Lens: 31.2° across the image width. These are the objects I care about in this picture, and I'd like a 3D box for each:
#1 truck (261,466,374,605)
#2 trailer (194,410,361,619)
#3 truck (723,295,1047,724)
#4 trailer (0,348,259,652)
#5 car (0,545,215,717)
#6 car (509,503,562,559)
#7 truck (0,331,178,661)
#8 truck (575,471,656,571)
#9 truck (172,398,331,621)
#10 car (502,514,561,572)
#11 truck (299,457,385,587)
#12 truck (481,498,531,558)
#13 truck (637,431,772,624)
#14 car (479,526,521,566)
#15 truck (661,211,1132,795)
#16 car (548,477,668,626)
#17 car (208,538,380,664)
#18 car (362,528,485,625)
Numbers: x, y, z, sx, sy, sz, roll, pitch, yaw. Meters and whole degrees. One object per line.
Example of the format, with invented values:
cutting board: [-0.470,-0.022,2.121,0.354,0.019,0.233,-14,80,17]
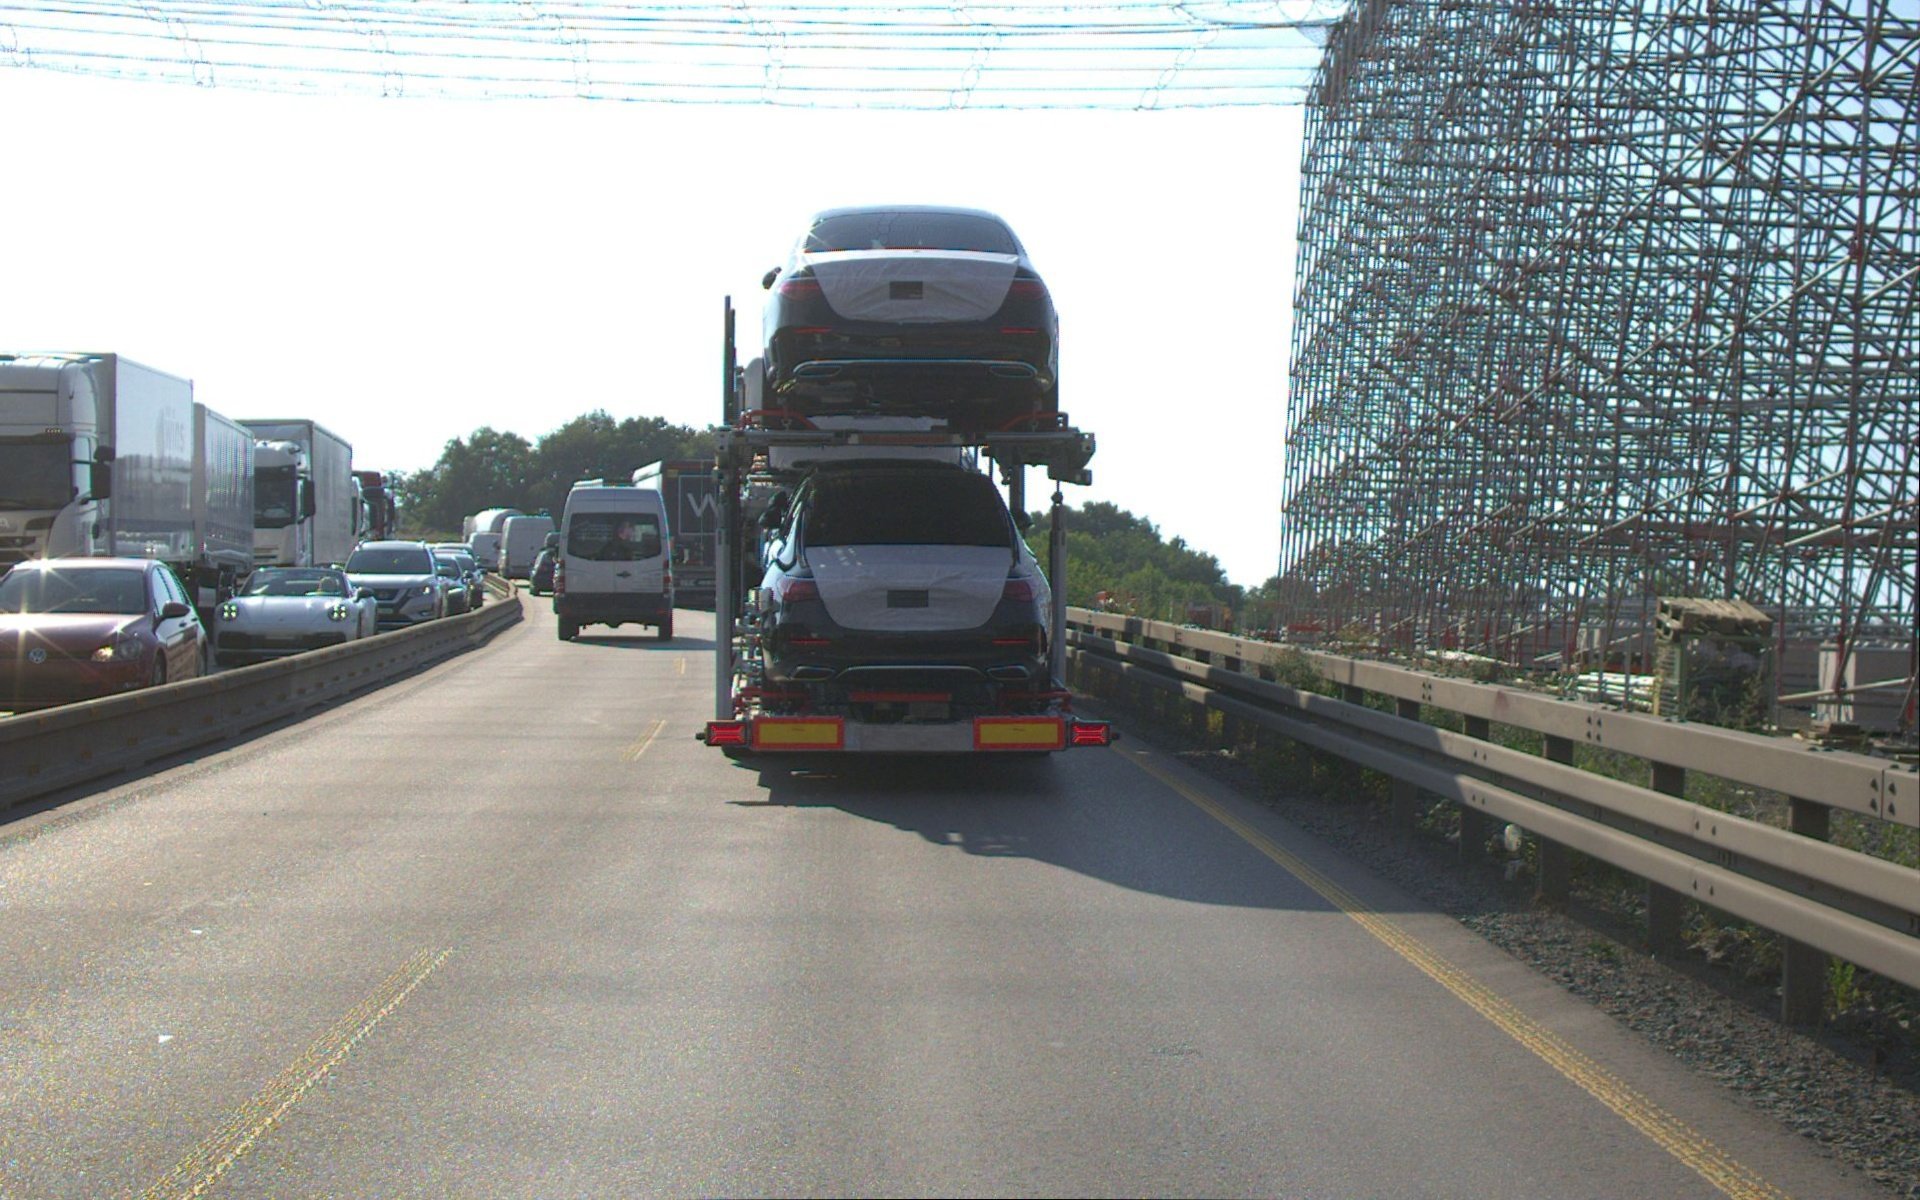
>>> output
truck: [-16.143,-1.617,86.633,2.413,3.358,5.619,1,1,-7]
trailer: [-14.244,-1.722,72.614,2.427,3.949,14.102,1,1,-7]
truck: [-0.998,-0.856,35.531,2.837,3.779,9.988,1,1,-4]
trailer: [-12.718,-1.407,52.261,2.669,4.002,13.336,1,1,-6]
car: [-7.857,0.227,30.691,1.808,1.415,4.519,1,1,-5]
car: [-15.894,-2.567,128.572,1.629,2.007,4.001,1,1,-11]
truck: [-11.925,-1.284,44.221,2.630,3.896,7.206,1,1,-5]
truck: [-13.135,-2.960,130.565,2.530,3.635,8.908,1,1,-9]
truck: [-13.465,-1.686,65.648,2.473,4.032,5.619,1,1,-7]
car: [-13.585,-1.791,108.974,1.826,1.766,4.001,1,1,-7]
truck: [-18.574,-2.327,103.545,2.431,3.772,5.619,1,1,-10]
truck: [-24.337,-3.834,184.120,2.590,3.159,6.678,1,1,-8]
truck: [-7.407,-2.033,98.473,3.285,5.219,9.938,1,1,-7]
car: [-21.253,-2.485,158.765,1.837,1.829,4.001,1,1,-8]
truck: [-0.535,-0.642,26.058,2.799,3.485,10.606,1,1,-2]
car: [-6.264,-0.851,60.753,1.920,2.484,5.410,1,1,-8]
car: [-8.752,-0.012,45.482,1.808,1.563,4.367,1,1,-5]
car: [-9.140,-0.412,58.804,1.808,1.563,4.367,1,1,-5]
